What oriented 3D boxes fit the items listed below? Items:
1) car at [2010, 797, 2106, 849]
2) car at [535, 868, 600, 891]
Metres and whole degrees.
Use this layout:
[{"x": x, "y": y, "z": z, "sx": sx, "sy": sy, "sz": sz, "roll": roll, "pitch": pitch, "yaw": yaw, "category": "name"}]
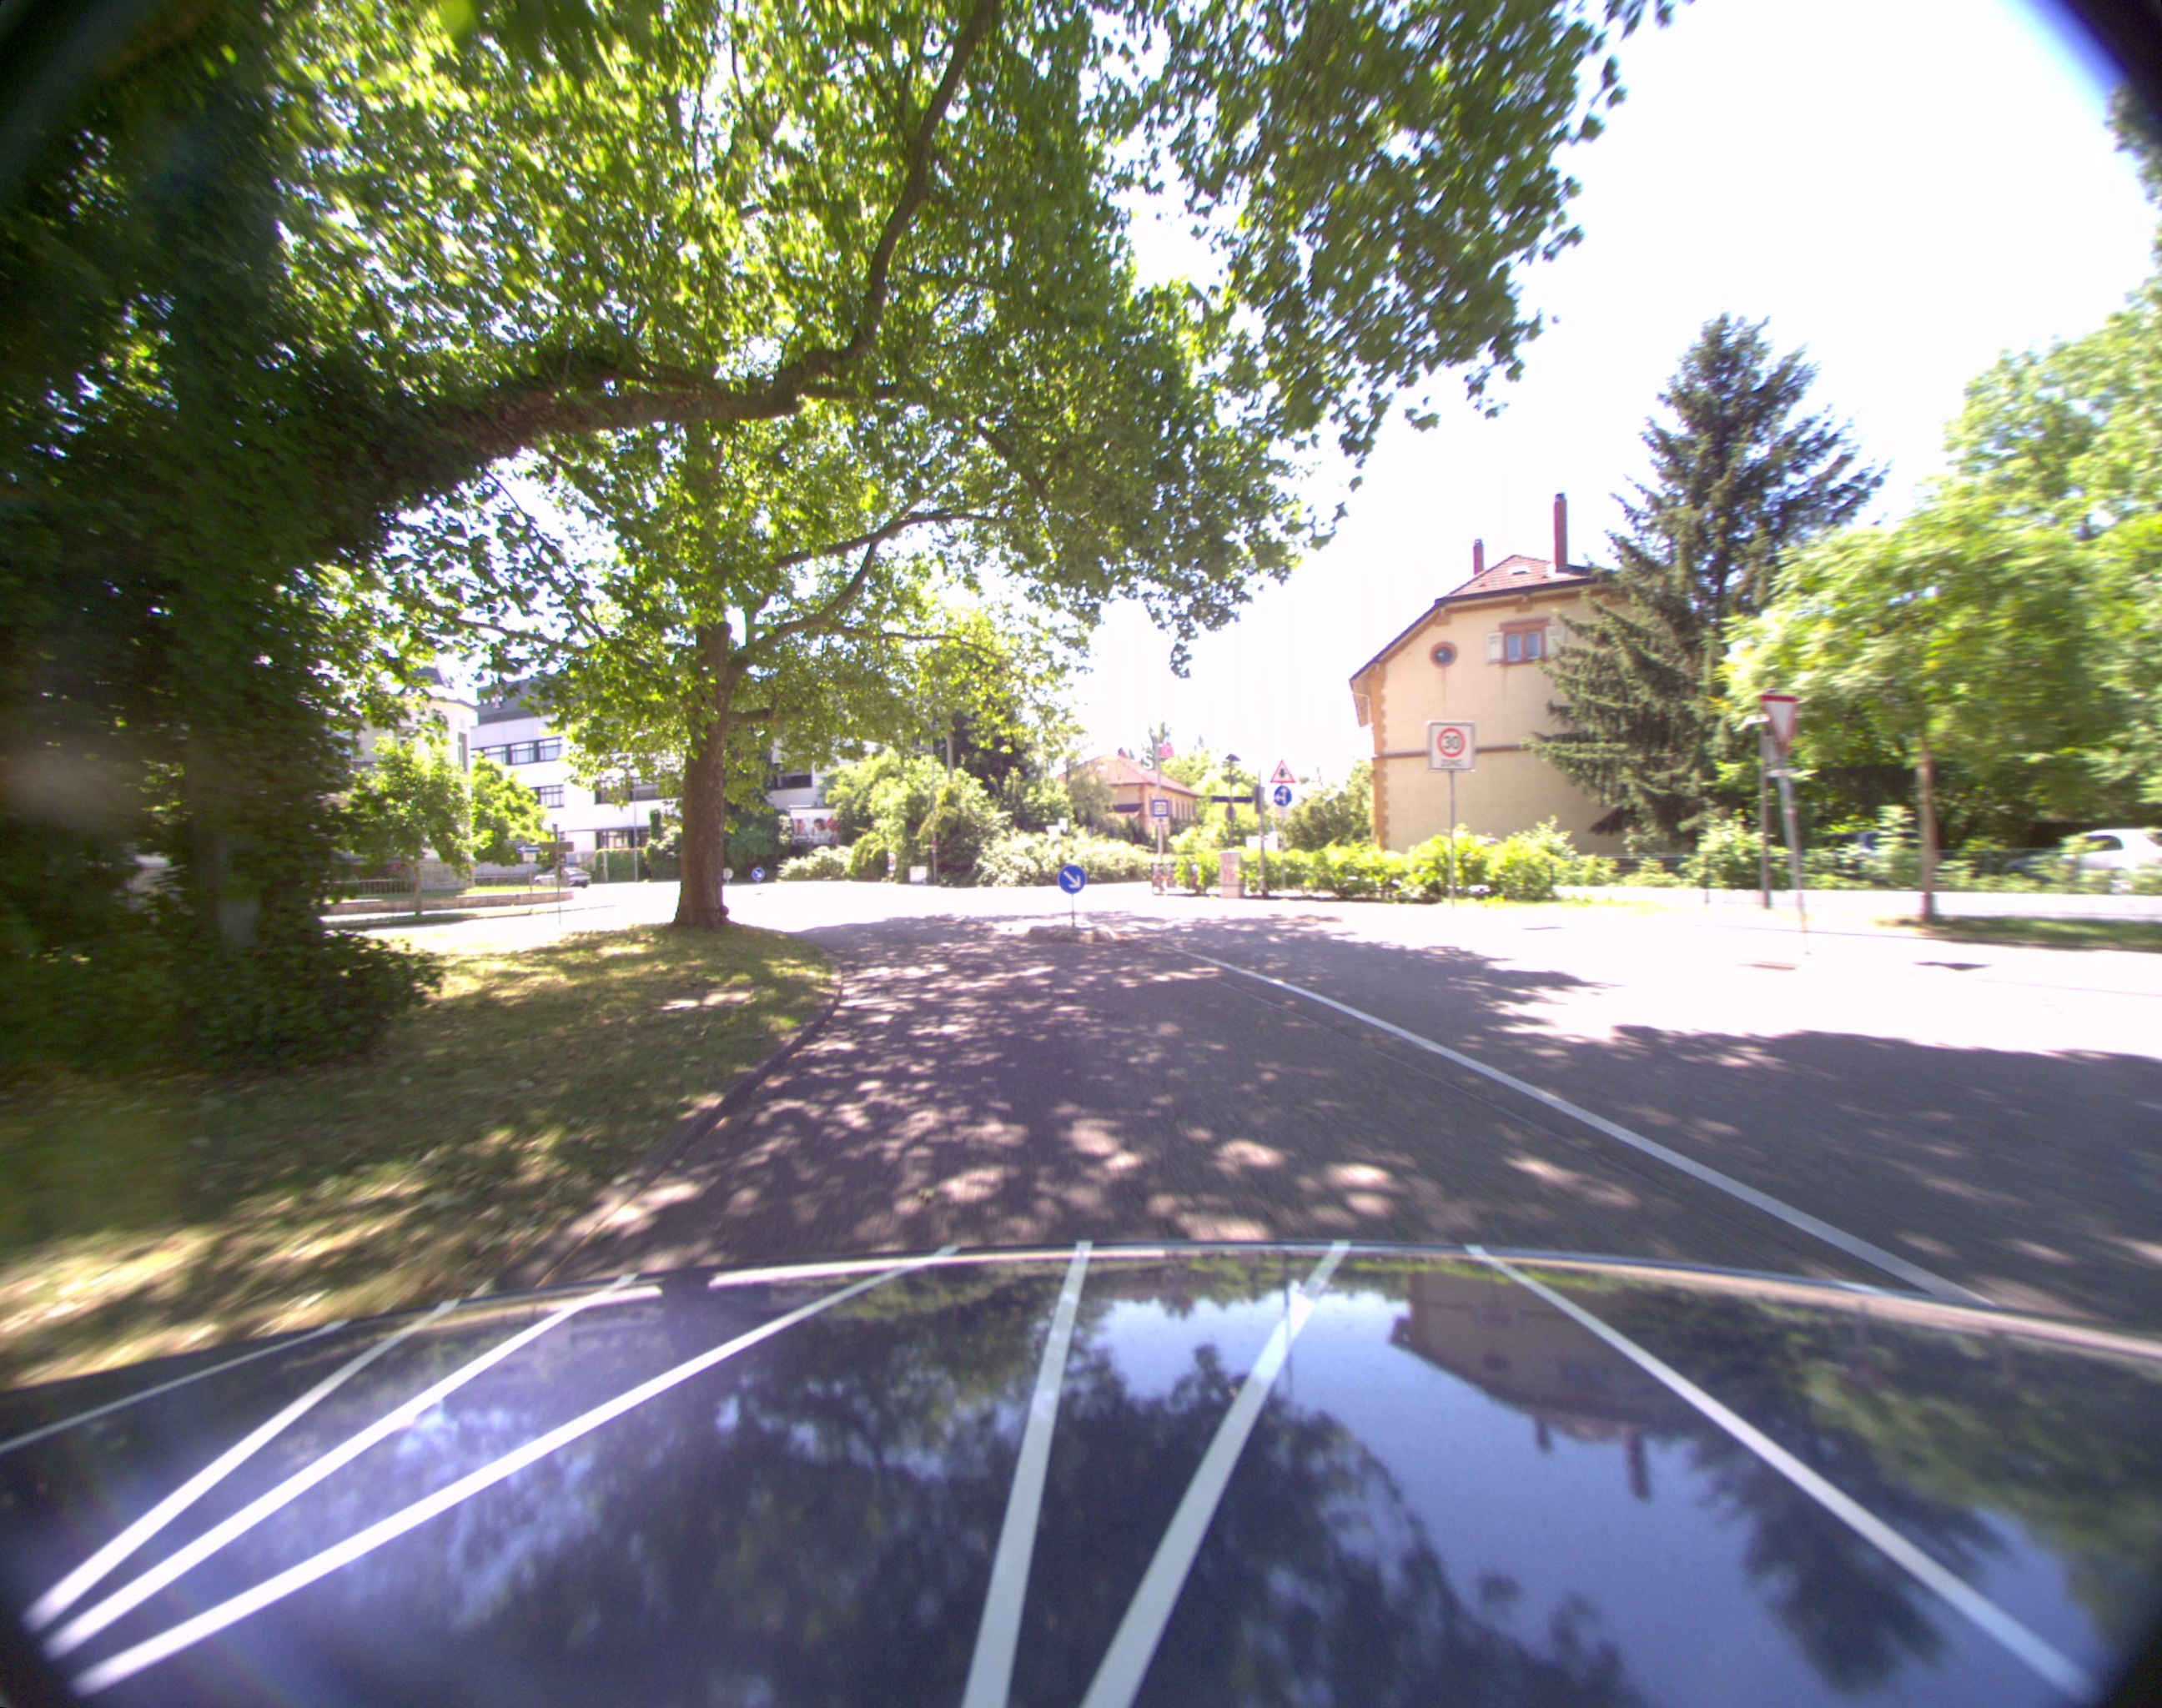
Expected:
[{"x": 34.835, "y": -1.077, "z": 27.178, "sx": 3.550, "sy": 1.697, "sz": 1.778, "roll": -2, "pitch": 0, "yaw": -43, "category": "car"}, {"x": -38.295, "y": 1.916, "z": 56.664, "sx": 4.329, "sy": 1.521, "sz": 1.853, "roll": -2, "pitch": 0, "yaw": 22, "category": "car"}]
